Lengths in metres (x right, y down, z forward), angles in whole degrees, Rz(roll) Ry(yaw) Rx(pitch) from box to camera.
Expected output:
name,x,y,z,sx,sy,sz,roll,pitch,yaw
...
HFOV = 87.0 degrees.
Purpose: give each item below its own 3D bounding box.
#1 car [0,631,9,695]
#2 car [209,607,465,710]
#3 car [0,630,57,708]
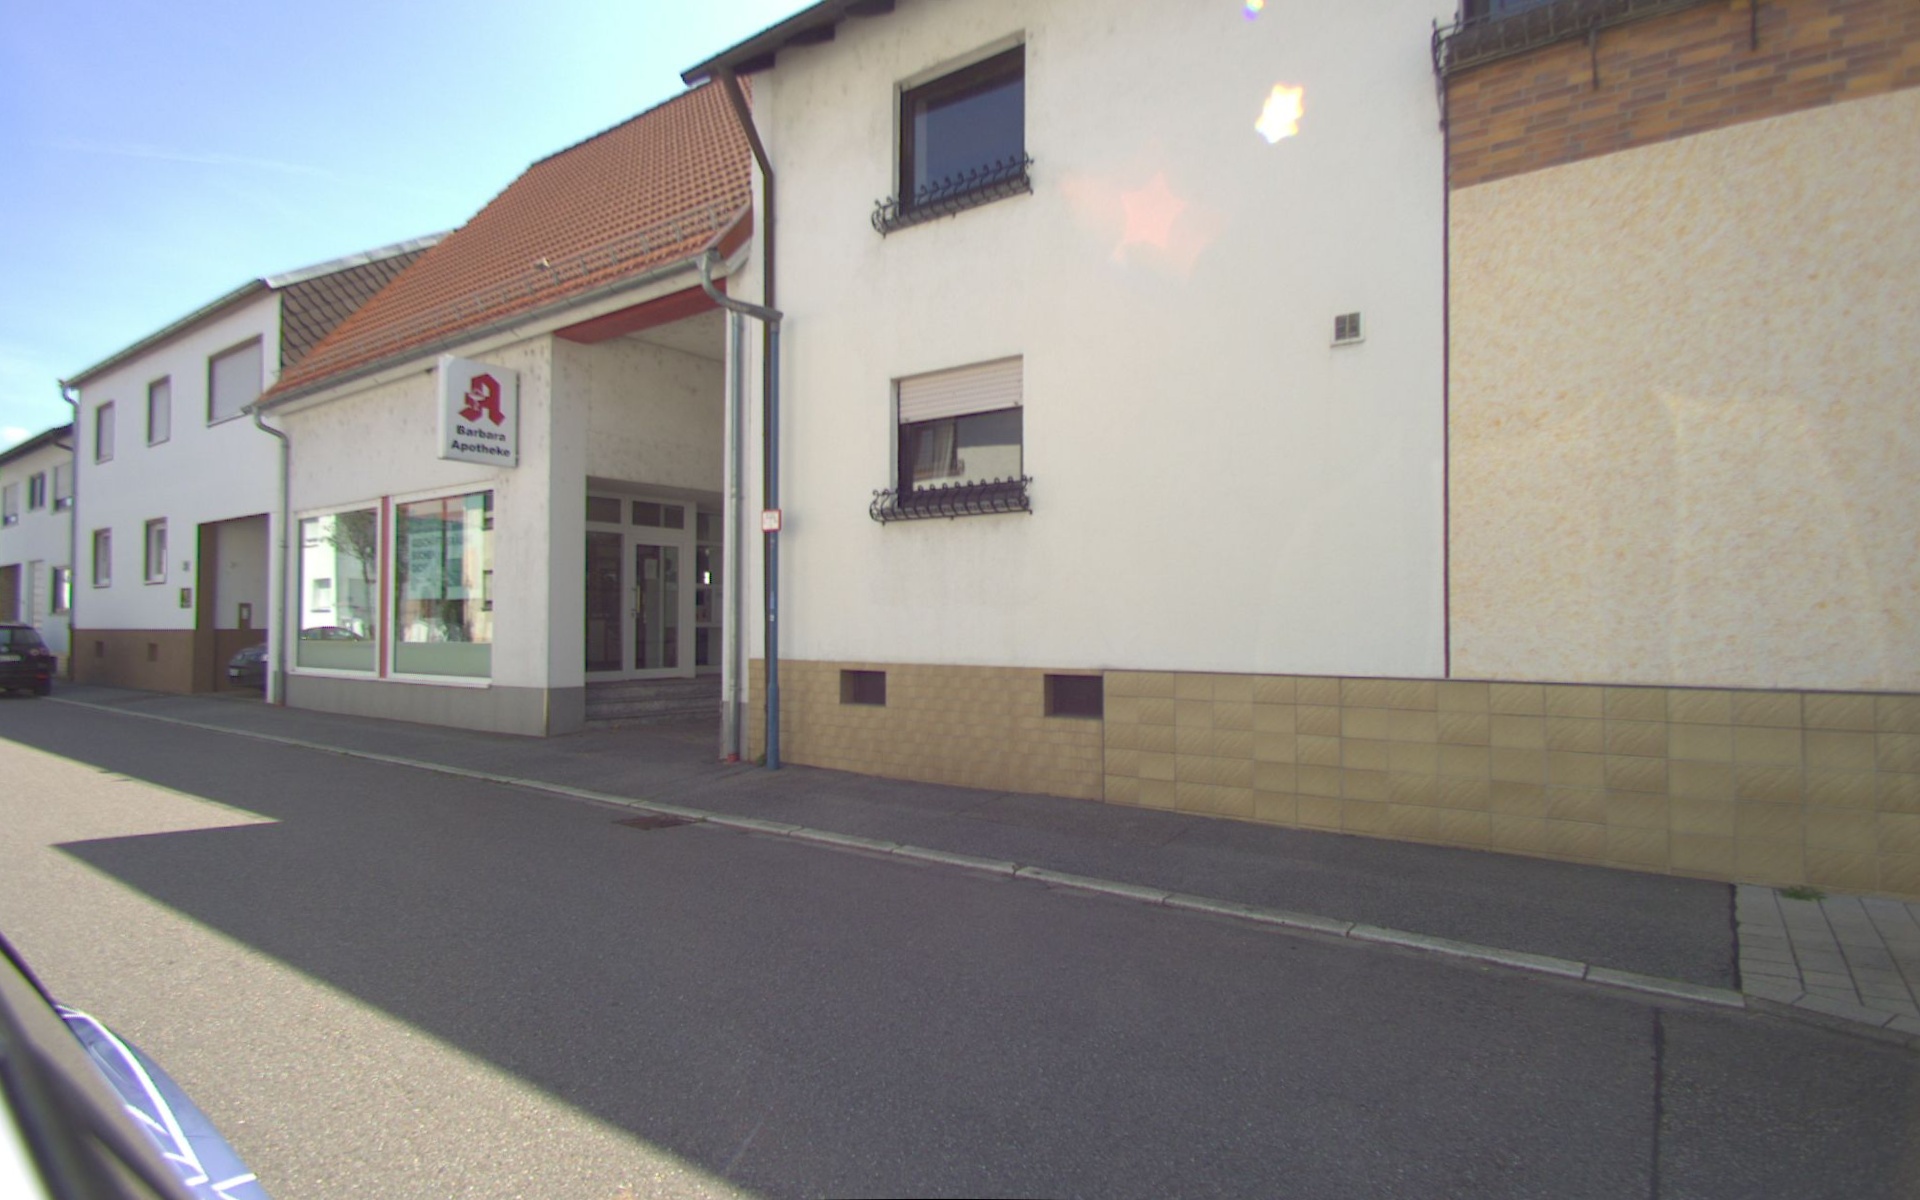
name,x,y,z,sx,sy,sz,roll,pitch,yaw
car,-26.381,1.629,26.306,4.113,1.630,1.738,-2,-2,37
car,-12.298,1.077,20.184,1.812,1.731,3.949,-2,0,38
car,-21.025,1.445,21.636,3.946,1.578,1.732,-2,-2,35
